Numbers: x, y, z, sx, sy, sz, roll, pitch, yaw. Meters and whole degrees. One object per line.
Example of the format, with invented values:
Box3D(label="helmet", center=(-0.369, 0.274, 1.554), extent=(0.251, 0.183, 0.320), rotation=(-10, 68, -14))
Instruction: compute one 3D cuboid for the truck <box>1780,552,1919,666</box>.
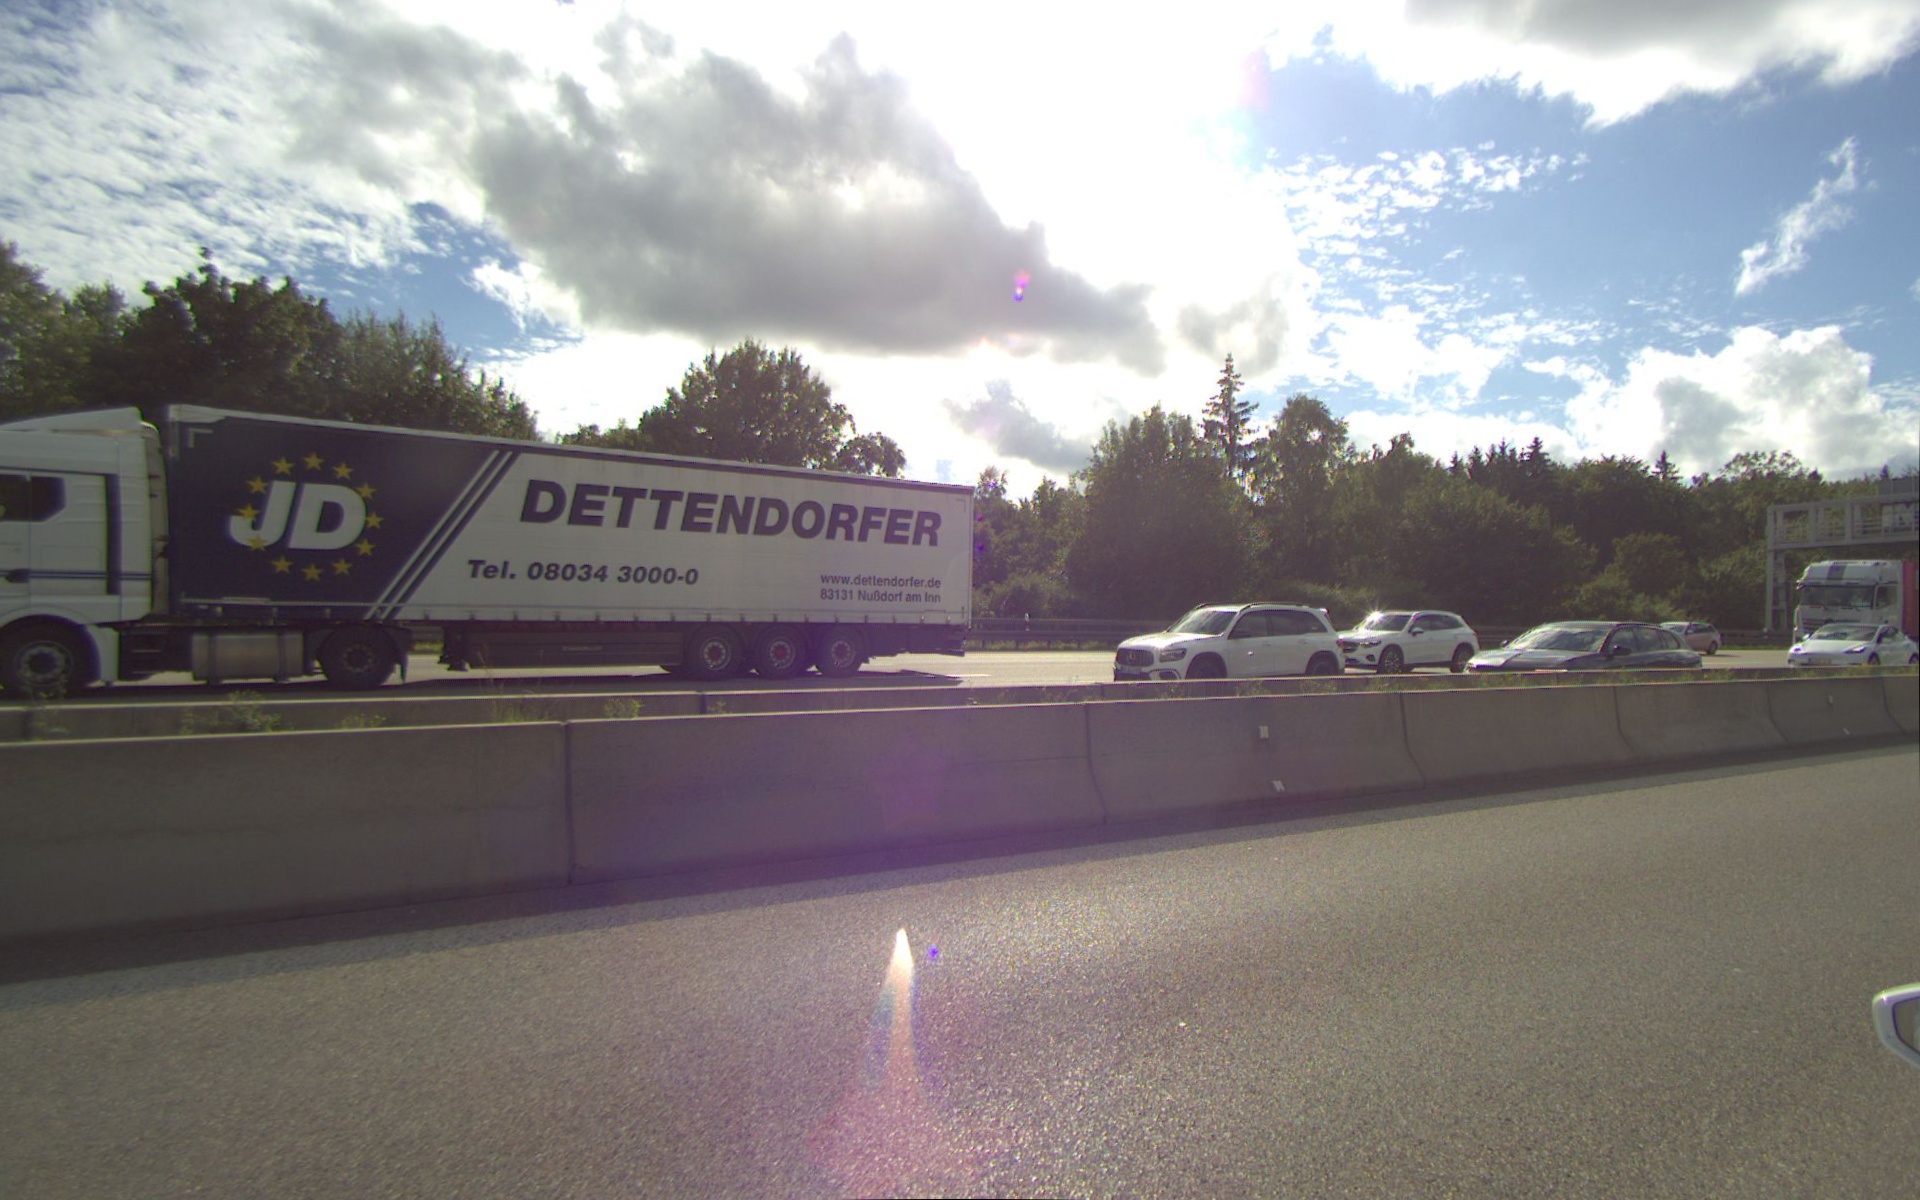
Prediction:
Box3D(label="truck", center=(34.836, 0.383, 38.975), extent=(5.694, 4.161, 2.727), rotation=(1, 0, -29))

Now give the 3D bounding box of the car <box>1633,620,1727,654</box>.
Box3D(label="car", center=(33.643, 1.736, 46.928), extent=(4.228, 1.457, 1.984), rotation=(1, 0, -30))

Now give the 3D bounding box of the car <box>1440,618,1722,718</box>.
Box3D(label="car", center=(10.119, 1.036, 16.300), extent=(4.565, 1.380, 1.984), rotation=(2, 0, -30))

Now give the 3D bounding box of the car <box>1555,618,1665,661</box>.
Box3D(label="car", center=(23.678, 1.416, 36.567), extent=(4.234, 1.445, 1.617), rotation=(2, 0, -30))

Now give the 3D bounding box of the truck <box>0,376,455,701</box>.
Box3D(label="truck", center=(-11.412, -0.754, 15.444), extent=(6.159, 4.161, 3.298), rotation=(1, 0, -34))

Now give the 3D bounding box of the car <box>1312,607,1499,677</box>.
Box3D(label="car", center=(11.494, 1.052, 25.829), extent=(4.985, 1.639, 1.785), rotation=(2, 0, -30))

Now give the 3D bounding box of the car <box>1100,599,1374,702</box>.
Box3D(label="car", center=(4.972, 0.863, 17.838), extent=(4.883, 1.615, 1.701), rotation=(2, 0, -29))

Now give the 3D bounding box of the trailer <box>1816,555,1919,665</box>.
Box3D(label="trailer", center=(40.822, 0.534, 42.358), extent=(13.253, 4.161, 2.727), rotation=(2, 0, -29))

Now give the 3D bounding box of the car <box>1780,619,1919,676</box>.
Box3D(label="car", center=(26.873, 1.401, 30.181), extent=(4.936, 1.546, 1.848), rotation=(2, 0, -30))

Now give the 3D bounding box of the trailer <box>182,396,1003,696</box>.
Box3D(label="trailer", center=(-5.819, -0.599, 19.211), extent=(14.006, 4.161, 3.298), rotation=(2, 0, -34))
